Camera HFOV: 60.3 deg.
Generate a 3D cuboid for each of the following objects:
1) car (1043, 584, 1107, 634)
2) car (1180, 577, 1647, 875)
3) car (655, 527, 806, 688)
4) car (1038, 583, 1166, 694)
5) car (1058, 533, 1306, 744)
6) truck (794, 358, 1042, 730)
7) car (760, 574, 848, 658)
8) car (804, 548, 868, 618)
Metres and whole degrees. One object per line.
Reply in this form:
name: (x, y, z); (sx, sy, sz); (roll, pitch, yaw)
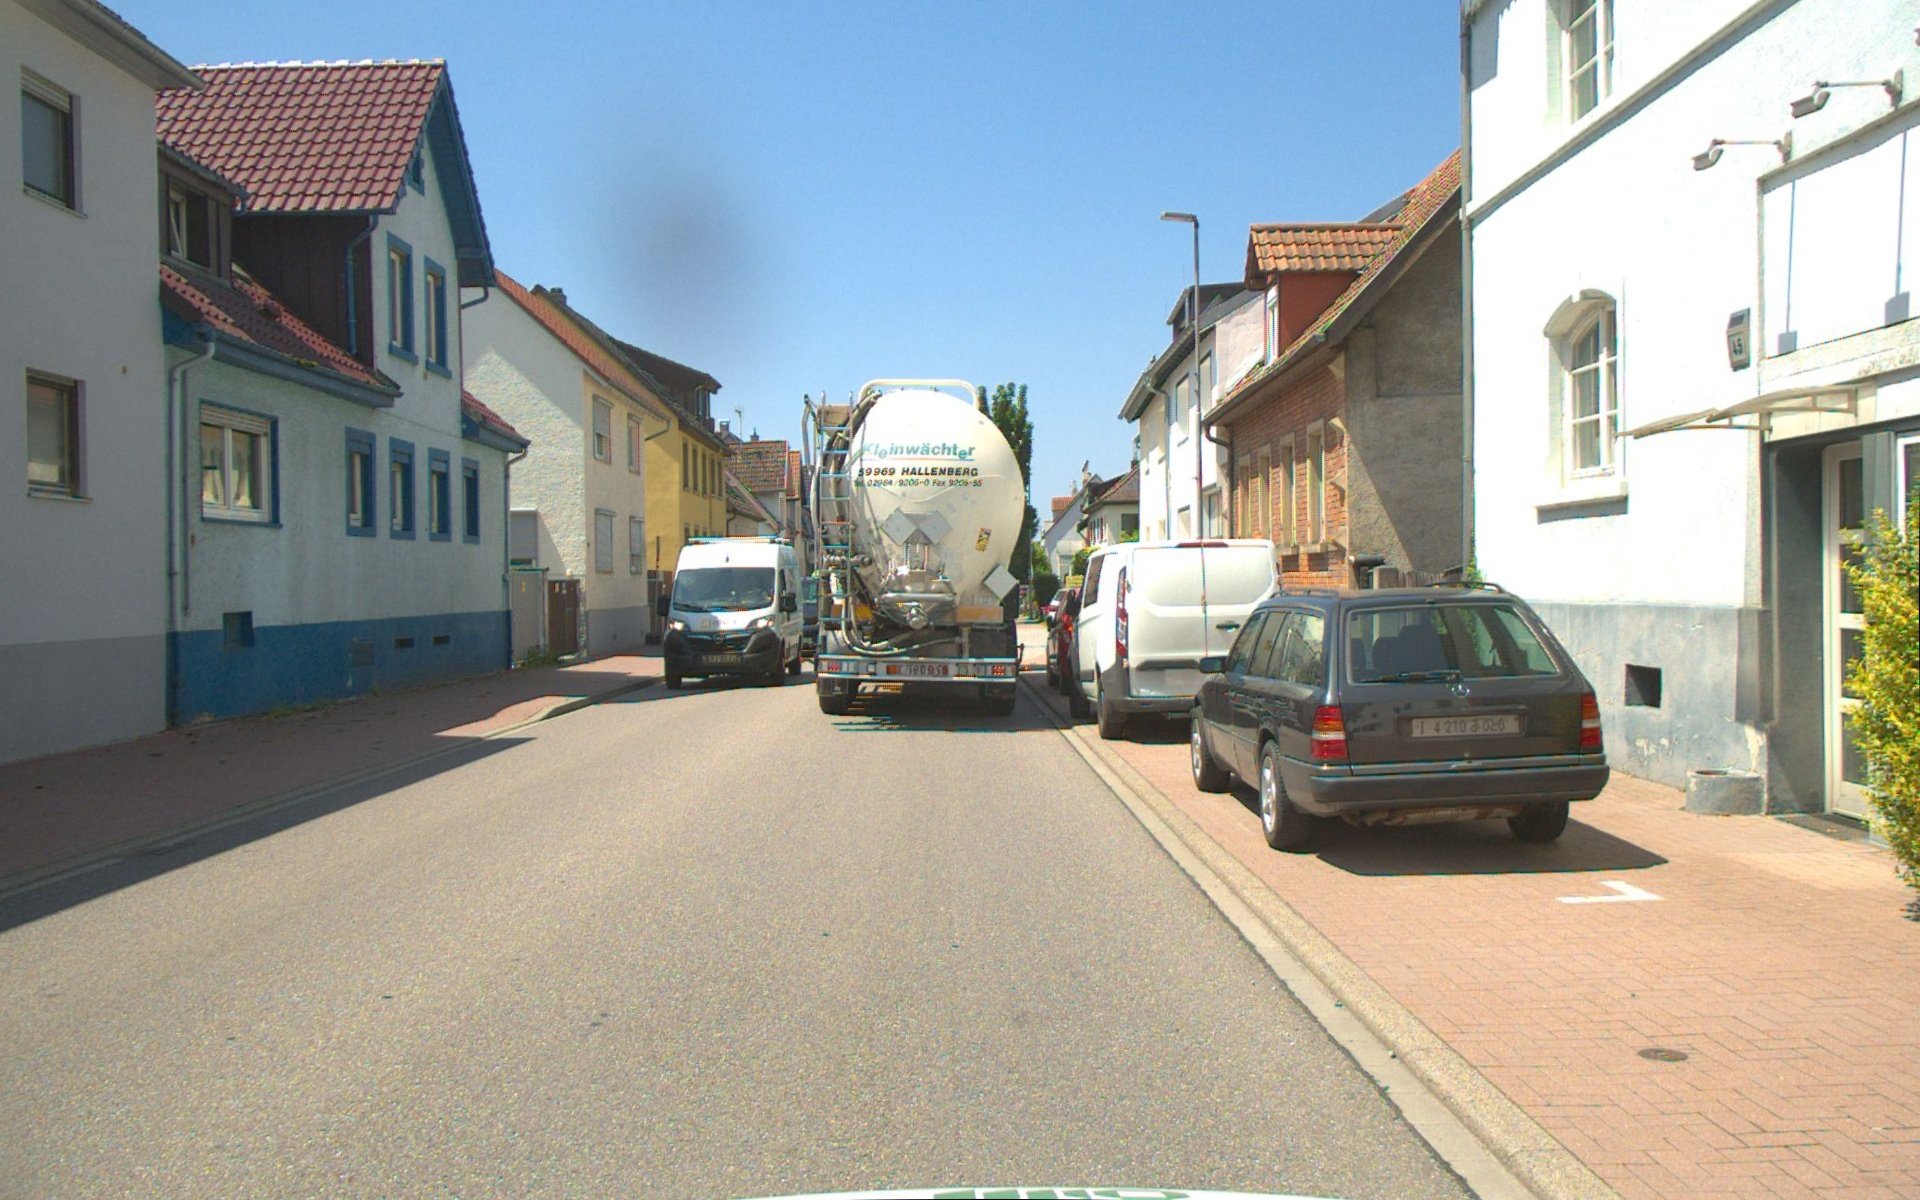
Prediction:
car: (3.960, 0.262, 56.083); (1.776, 1.488, 4.889); (4, 1, 7)
car: (2.650, 0.626, 10.829); (1.734, 1.491, 4.577); (-1, 1, -1)
car: (-4.045, 0.100, 30.059); (2.082, 2.586, 5.459); (-2, 1, -2)
car: (2.137, 0.535, 25.732); (1.577, 1.554, 3.676); (-1, 1, -1)
car: (2.309, 0.353, 18.499); (1.907, 2.004, 4.783); (-1, 1, -2)
truck: (-0.567, -0.604, 22.082); (2.677, 4.029, 8.139); (0, 0, -2)
car: (-3.948, 0.369, 42.622); (1.843, 1.977, 5.116); (-2, 0, -2)
car: (-4.515, -0.619, 60.897); (2.009, 2.394, 6.079); (-2, 1, -2)
